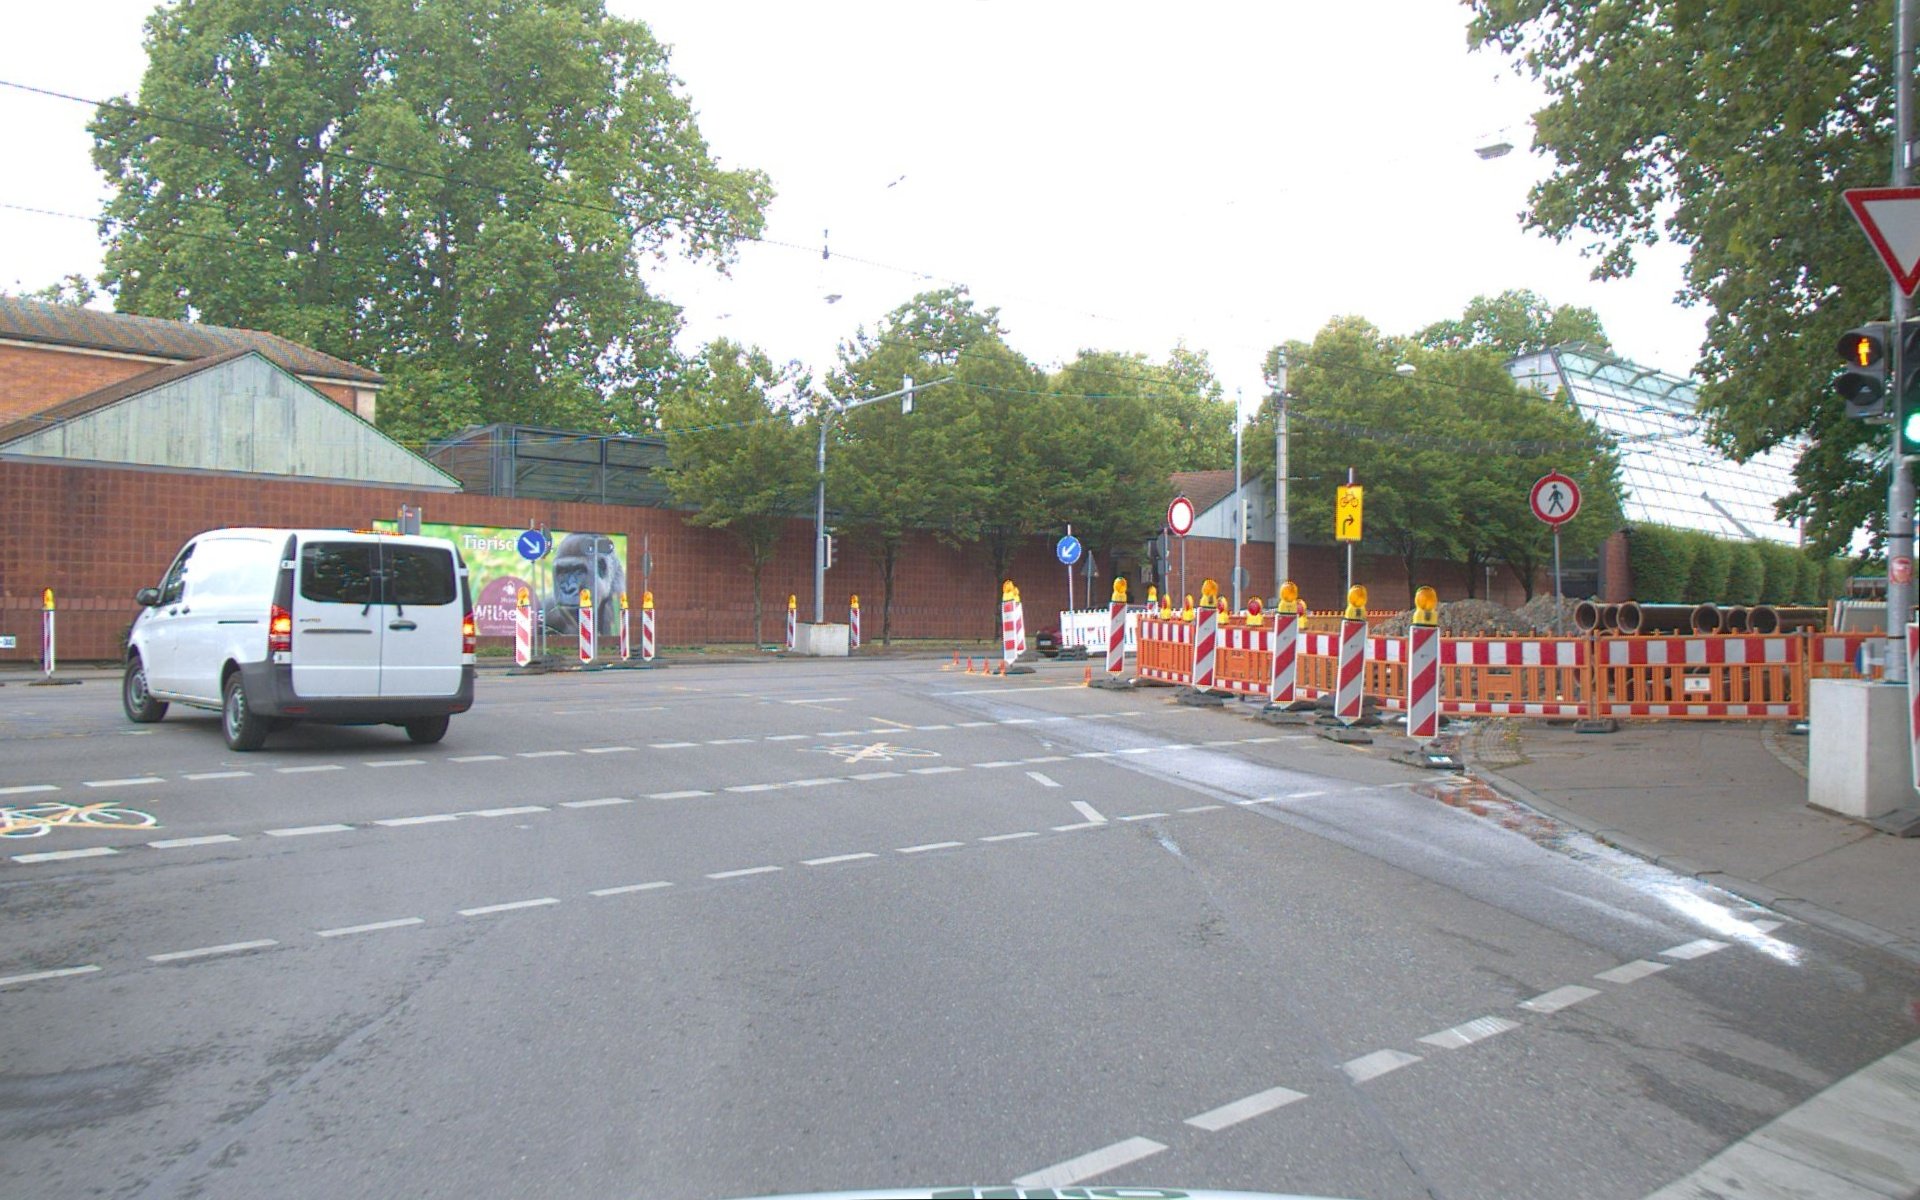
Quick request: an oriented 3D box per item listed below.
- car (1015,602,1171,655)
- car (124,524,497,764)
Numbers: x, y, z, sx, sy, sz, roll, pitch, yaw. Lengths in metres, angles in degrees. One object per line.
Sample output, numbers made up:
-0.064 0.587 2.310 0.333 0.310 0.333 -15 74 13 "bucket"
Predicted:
3.881 0.846 47.879 4.411 1.468 1.855 1 -3 -38 "car"
-6.310 0.340 15.734 1.906 1.935 4.632 1 0 -40 "car"
